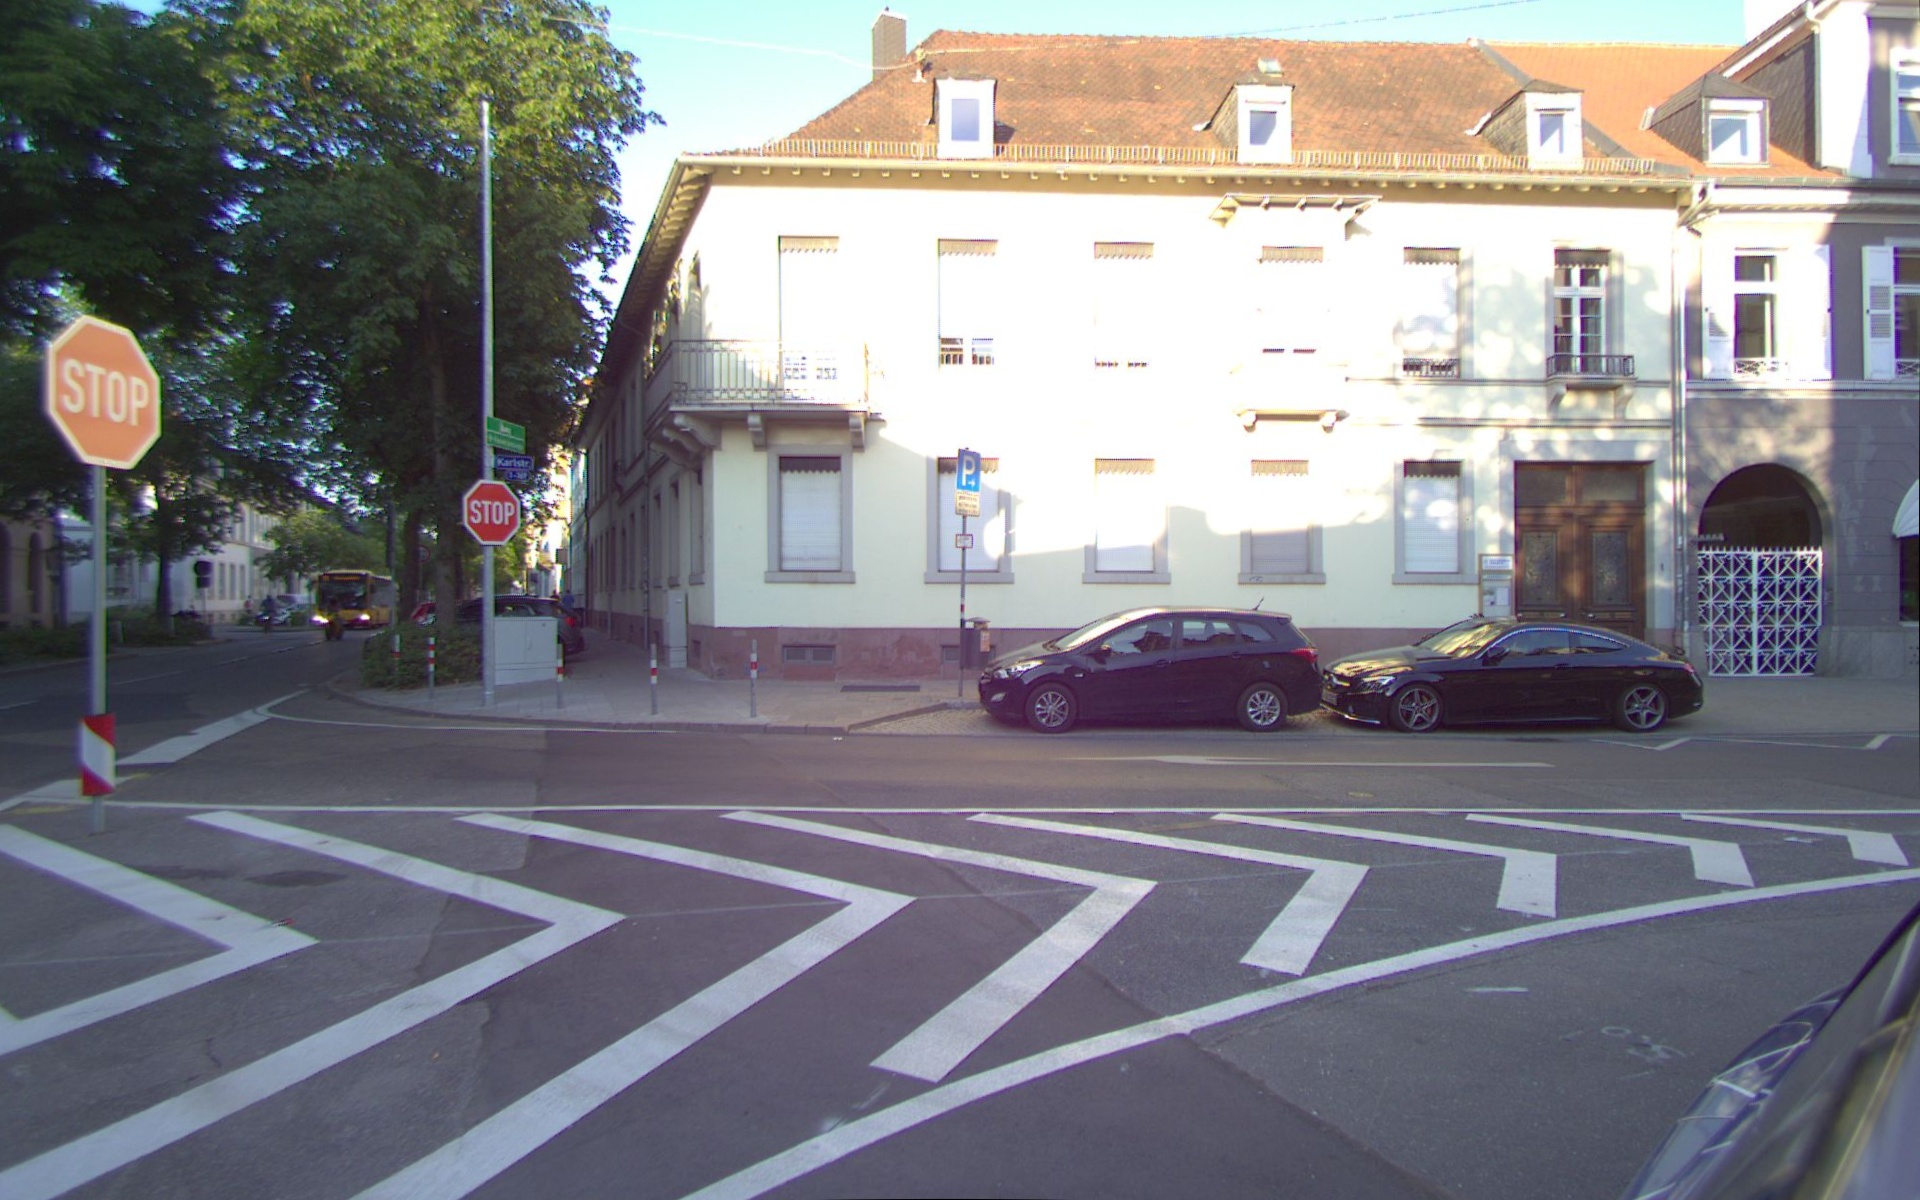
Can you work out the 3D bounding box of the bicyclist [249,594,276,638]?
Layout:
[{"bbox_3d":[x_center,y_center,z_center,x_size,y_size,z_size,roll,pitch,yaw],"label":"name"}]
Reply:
[{"bbox_3d":[-30.059,0.674,43.620,0.768,1.862,0.828,-2,0,-24],"label":"bicyclist"}]

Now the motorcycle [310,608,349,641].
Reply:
[{"bbox_3d":[-24.021,0.915,38.578,0.777,1.175,1.971,-2,0,-17],"label":"motorcycle"}]

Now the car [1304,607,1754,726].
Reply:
[{"bbox_3d":[7.166,0.825,13.113,4.765,1.413,1.778,0,-1,1],"label":"car"}]

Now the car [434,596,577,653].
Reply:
[{"bbox_3d":[-13.899,0.710,31.030,3.918,1.636,1.726,0,-1,-26],"label":"car"}]

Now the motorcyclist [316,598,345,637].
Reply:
[{"bbox_3d":[-24.085,0.671,38.741,0.777,1.438,0.700,-1,0,-17],"label":"motorcyclist"}]

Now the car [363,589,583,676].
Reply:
[{"bbox_3d":[-9.927,0.624,20.846,3.917,1.636,1.831,0,-1,-26],"label":"car"}]

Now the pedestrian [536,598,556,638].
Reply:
[{"bbox_3d":[-18.769,0.809,45.896,0.790,1.793,1.023,0,-1,-25],"label":"pedestrian"}]

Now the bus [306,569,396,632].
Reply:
[{"bbox_3d":[-33.547,0.045,56.175,2.657,3.038,12.102,-2,0,-24],"label":"bus"}]

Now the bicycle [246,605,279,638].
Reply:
[{"bbox_3d":[-30.067,0.920,43.646,0.768,1.346,2.081,-2,0,-24],"label":"bicycle"}]

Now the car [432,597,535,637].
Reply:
[{"bbox_3d":[-20.438,0.701,43.514,3.918,1.636,1.726,0,-1,-26],"label":"car"}]

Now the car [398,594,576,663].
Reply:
[{"bbox_3d":[-11.816,0.670,25.408,3.918,1.636,1.726,0,-1,-26],"label":"car"}]

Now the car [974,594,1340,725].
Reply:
[{"bbox_3d":[2.384,0.737,13.110,4.346,1.561,1.807,0,-1,-1],"label":"car"}]

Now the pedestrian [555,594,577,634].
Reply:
[{"bbox_3d":[-18.007,0.623,46.258,0.876,1.793,1.023,0,-1,-25],"label":"pedestrian"}]
